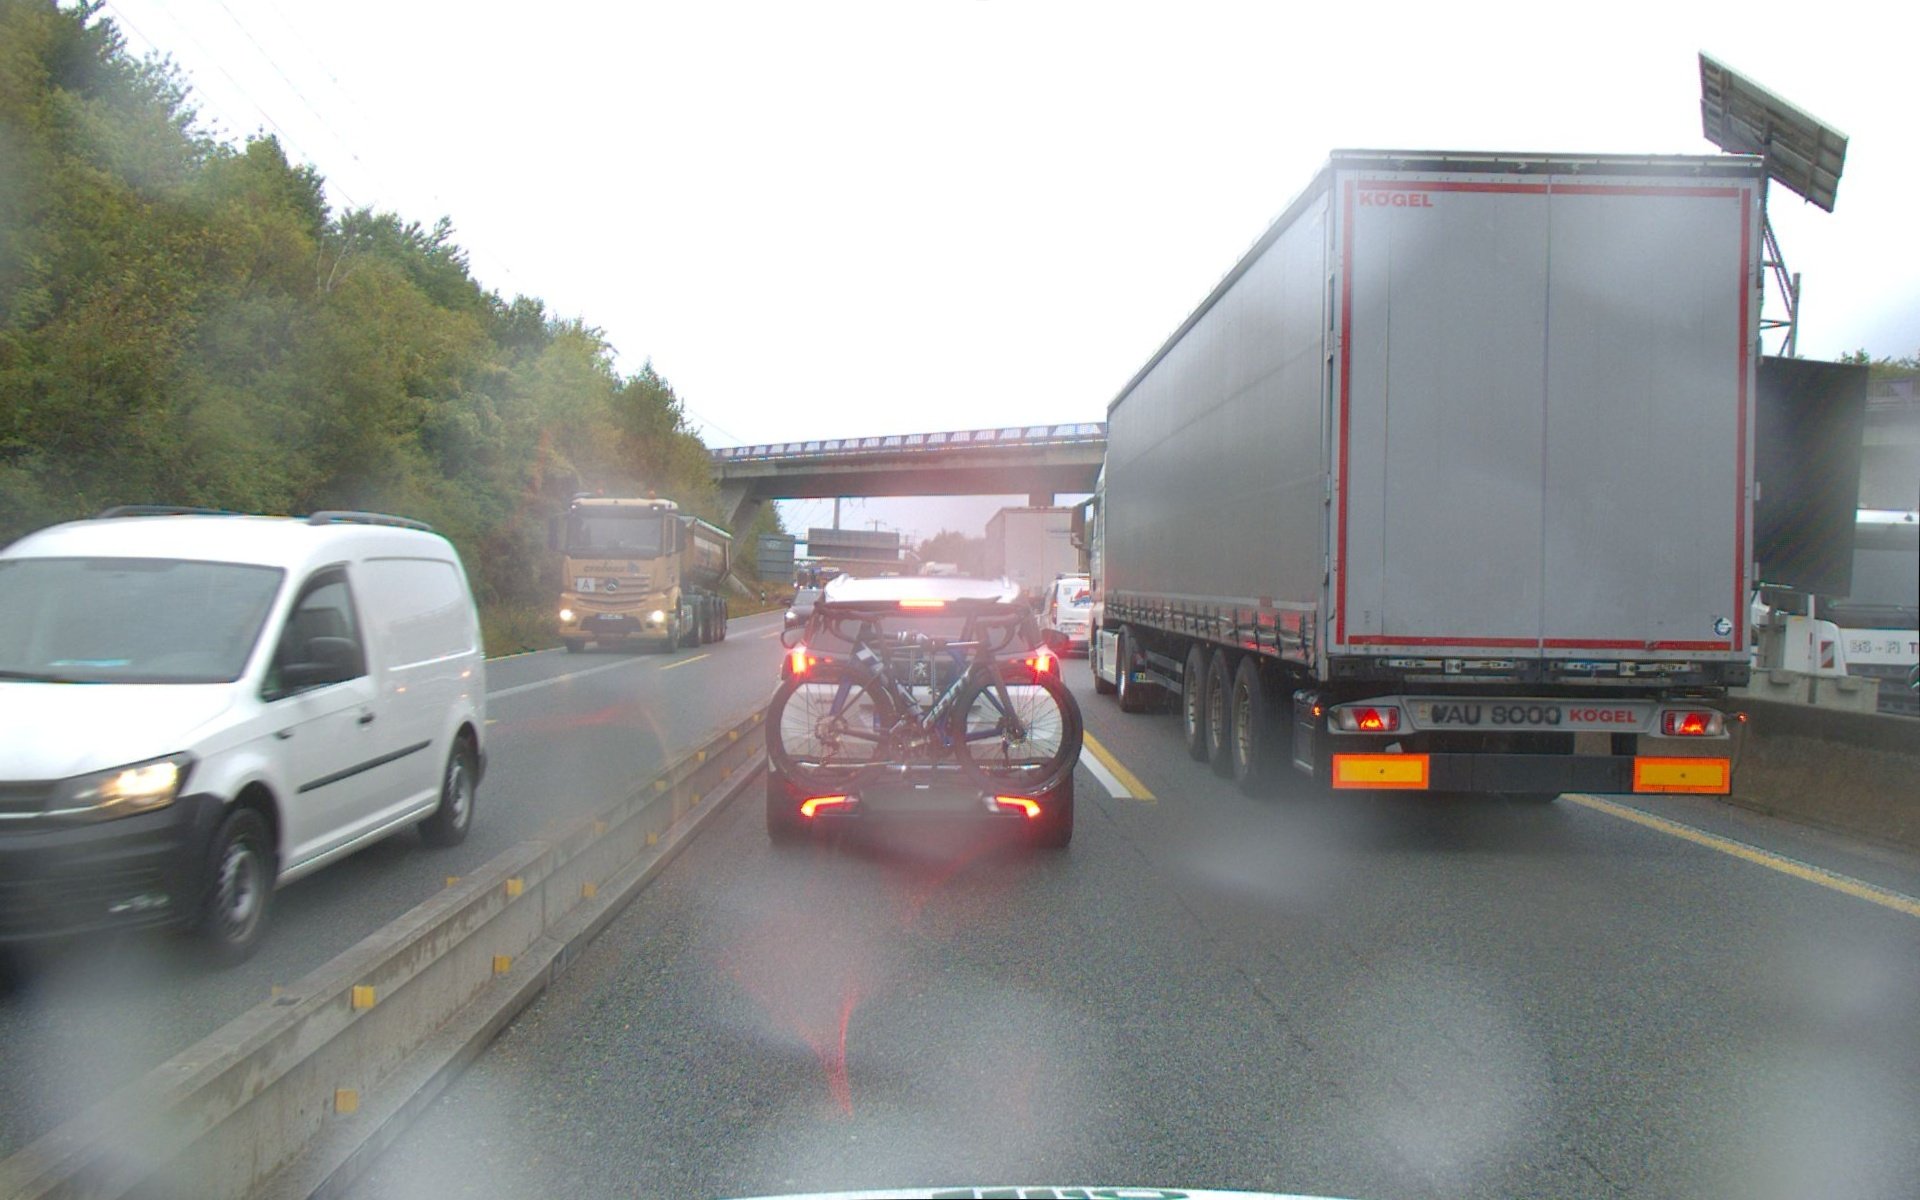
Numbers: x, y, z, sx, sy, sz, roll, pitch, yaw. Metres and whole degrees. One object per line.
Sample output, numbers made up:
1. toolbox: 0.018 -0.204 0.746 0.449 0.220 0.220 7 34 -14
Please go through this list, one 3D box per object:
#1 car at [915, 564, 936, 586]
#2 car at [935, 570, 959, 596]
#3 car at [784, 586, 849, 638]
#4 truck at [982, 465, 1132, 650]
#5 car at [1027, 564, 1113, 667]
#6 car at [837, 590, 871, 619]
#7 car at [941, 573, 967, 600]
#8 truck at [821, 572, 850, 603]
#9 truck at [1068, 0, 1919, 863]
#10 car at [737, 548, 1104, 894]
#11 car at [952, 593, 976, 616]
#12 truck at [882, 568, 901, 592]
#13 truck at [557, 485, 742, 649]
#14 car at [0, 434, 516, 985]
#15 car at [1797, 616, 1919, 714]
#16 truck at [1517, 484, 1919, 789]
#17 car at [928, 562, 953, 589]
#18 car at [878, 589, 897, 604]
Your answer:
1. car: -3.426 -2.472 165.132 1.953 2.164 4.526 1 0 0
2. car: -1.042 -1.385 136.938 1.953 2.049 4.000 1 0 0
3. car: -4.141 0.332 48.213 1.652 1.434 3.928 1 0 -2
4. truck: 3.200 -1.337 62.273 4.645 5.772 20.377 1 0 1
5. car: 2.495 0.340 38.260 1.636 2.218 4.534 1 0 0
6. car: -6.029 0.271 94.652 1.773 1.586 3.989 1 0 -1
7. car: -0.460 -1.014 125.662 1.953 2.049 4.000 1 0 0
8. truck: -15.072 -1.469 201.504 2.626 3.720 12.310 1 0 0
9. truck: 3.929 -1.509 18.954 3.898 5.772 20.374 1 0 0
10. car: -0.161 0.594 10.412 1.773 1.666 4.636 1 0 1
11. car: 0.283 0.316 112.461 1.605 1.524 3.666 1 0 0
12. truck: -10.196 -2.875 246.921 2.483 3.411 12.047 1 0 -1
13. truck: -7.290 -0.692 40.636 2.483 3.411 12.047 1 0 -1
14. car: -3.572 0.363 7.887 1.774 1.856 4.633 1 0 -2
15. car: 21.227 1.441 38.280 1.693 2.094 4.125 1 0 2
16. truck: 10.218 0.396 21.959 2.469 3.186 9.117 1 0 -1
17. car: -1.702 -2.210 149.567 2.193 2.347 4.571 1 0 0
18. car: -6.752 -0.324 154.179 1.652 1.434 3.928 1 0 -2
